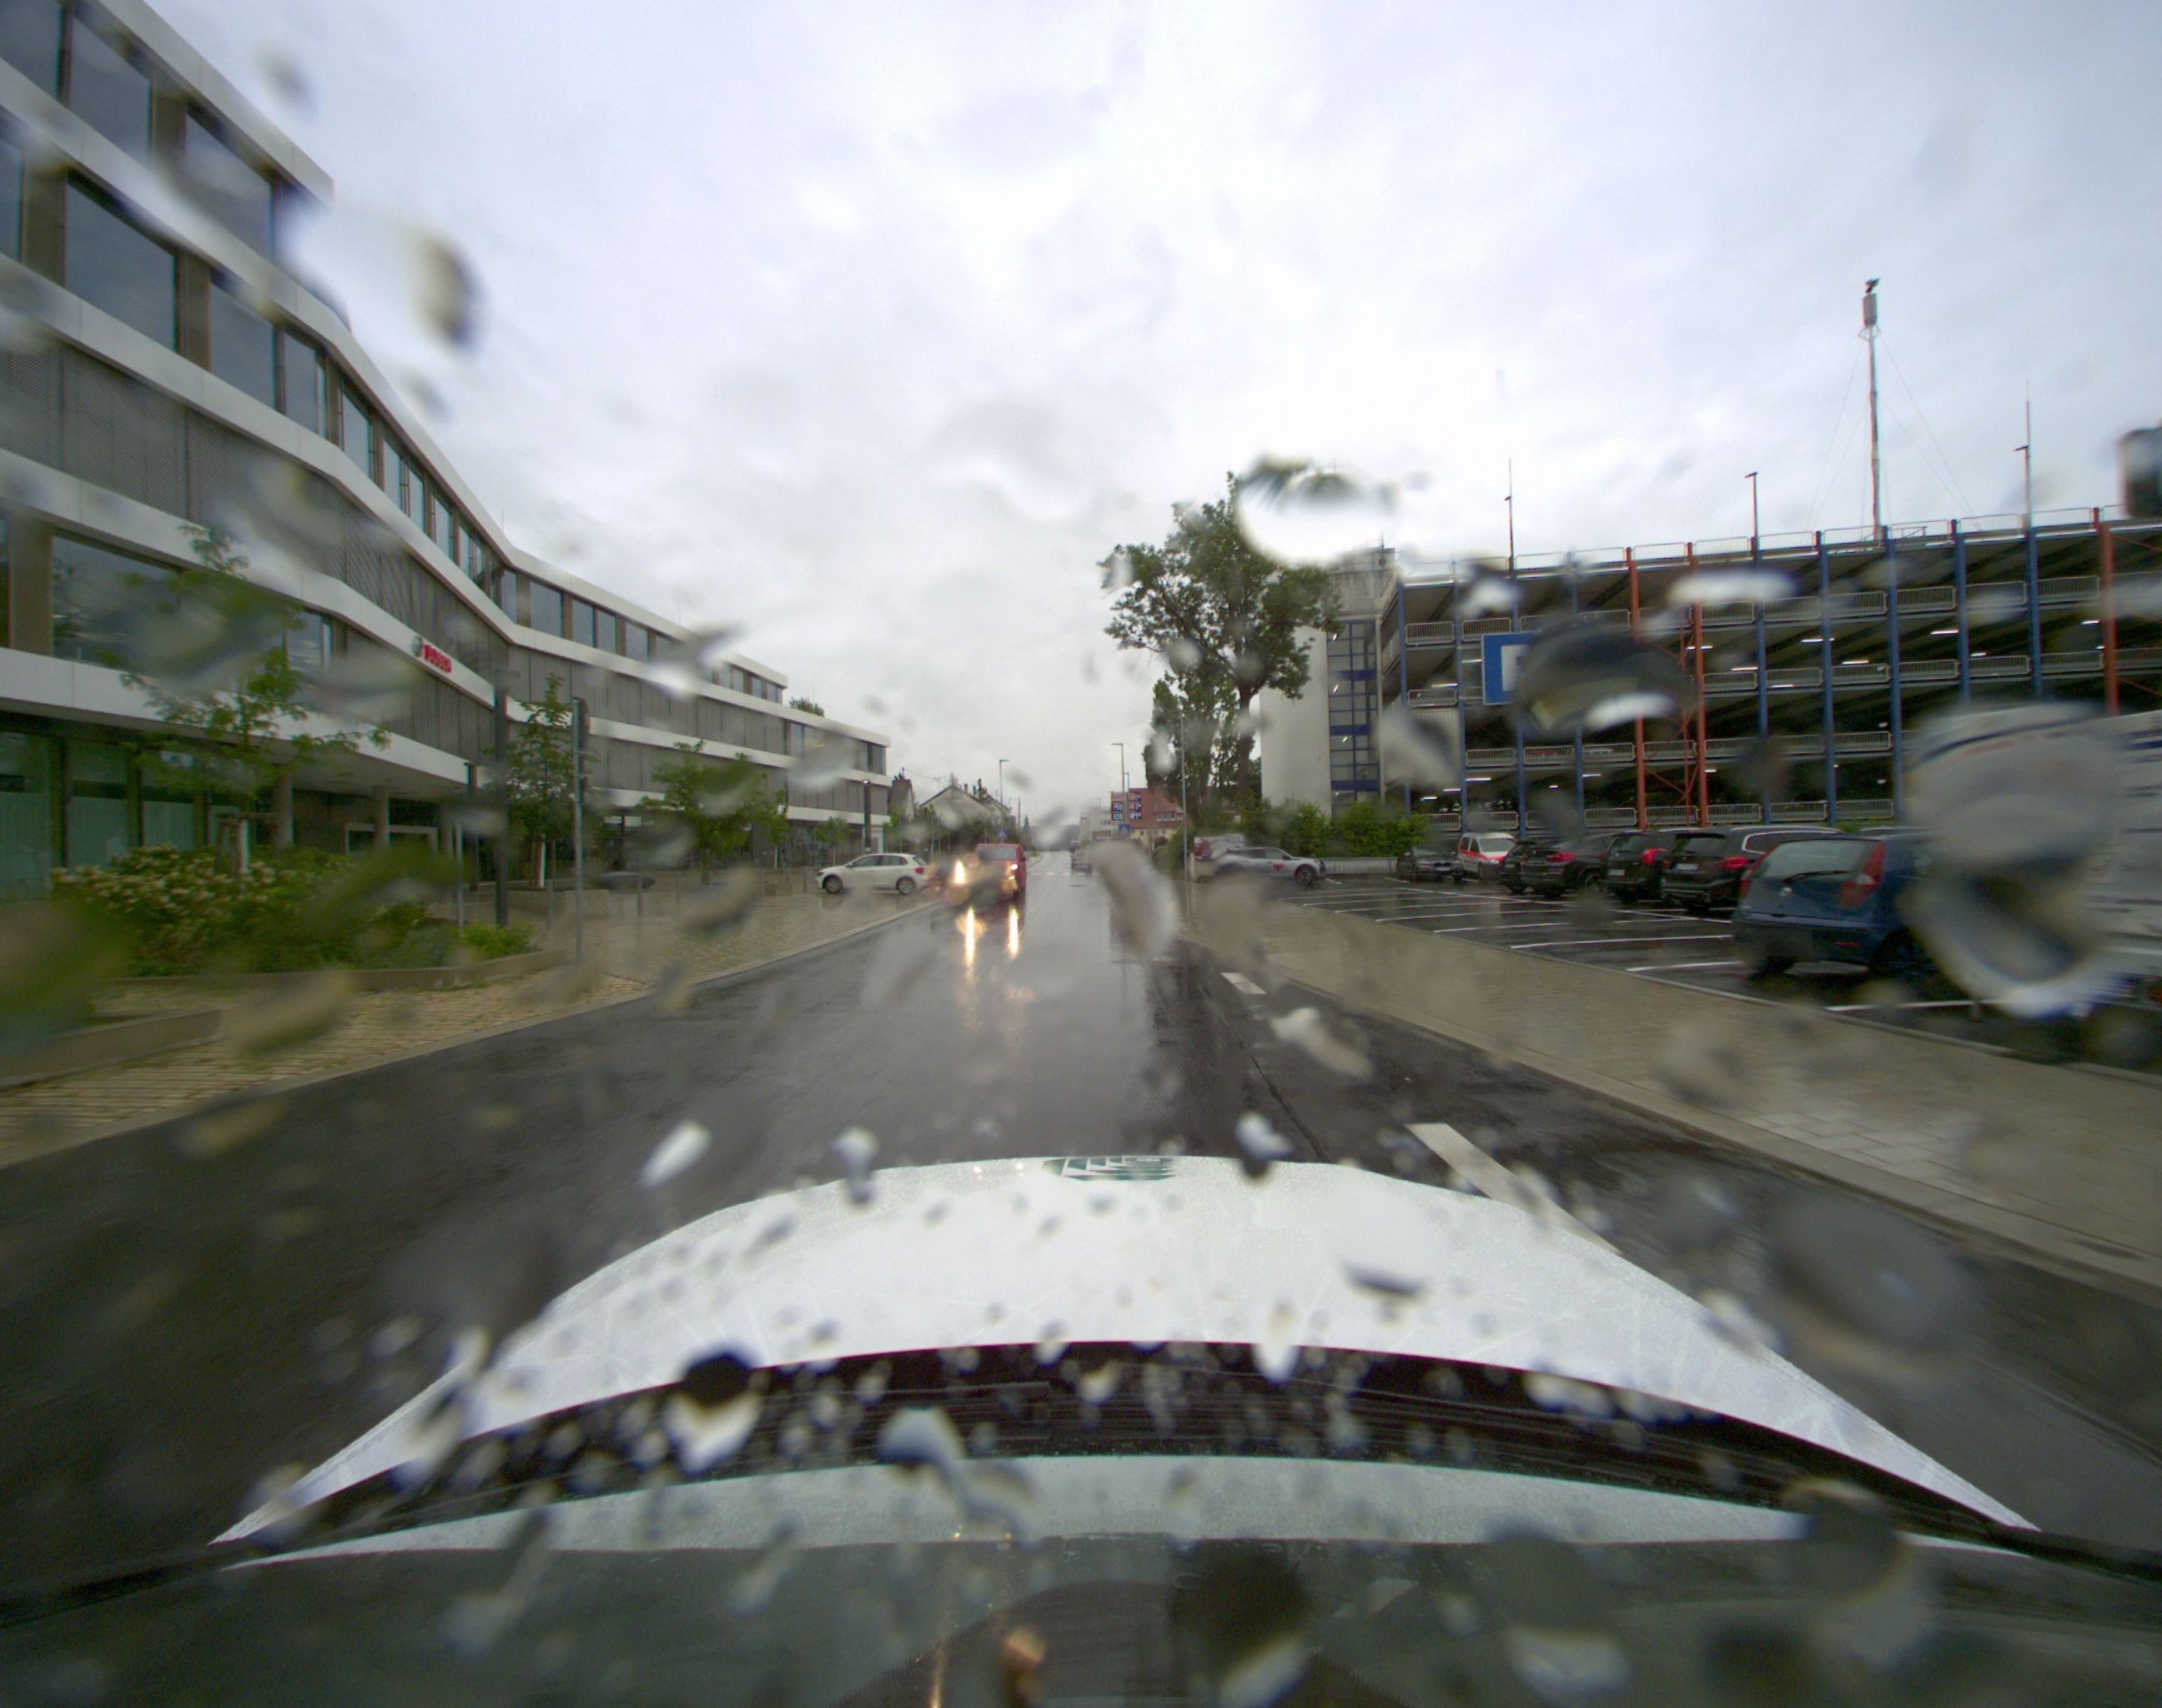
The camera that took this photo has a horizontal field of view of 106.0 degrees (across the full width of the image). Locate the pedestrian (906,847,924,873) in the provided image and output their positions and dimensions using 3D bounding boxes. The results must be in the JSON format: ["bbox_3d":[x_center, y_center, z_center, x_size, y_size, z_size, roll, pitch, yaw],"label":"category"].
[{"bbox_3d":[-10.844,0.396,53.280,1.011,1.724,0.771,0,0,-3],"label":"pedestrian"}]

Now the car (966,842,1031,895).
[{"bbox_3d":[-3.014,0.491,30.568,1.997,1.818,4.977,-1,0,-1],"label":"car"}]

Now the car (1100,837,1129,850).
[{"bbox_3d":[5.087,-1.542,123.624,4.104,1.706,1.786,3,-2,-4],"label":"car"}]

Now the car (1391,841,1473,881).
[{"bbox_3d":[13.822,0.251,32.306,1.922,1.442,4.216,-1,0,8],"label":"car"}]

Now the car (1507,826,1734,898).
[{"bbox_3d":[13.017,0.191,19.822,4.344,1.559,1.838,-1,0,-2],"label":"car"}]

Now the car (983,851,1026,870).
[{"bbox_3d":[-9.095,0.750,96.438,4.760,2.014,1.990,3,-2,-15],"label":"car"}]

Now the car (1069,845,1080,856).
[{"bbox_3d":[-1.238,-0.652,152.478,1.987,1.706,3.998,3,-2,0],"label":"car"}]

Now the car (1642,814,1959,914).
[{"bbox_3d":[13.142,0.166,15.054,4.345,1.651,1.843,-1,0,-3],"label":"car"}]

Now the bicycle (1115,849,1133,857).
[{"bbox_3d":[6.200,-0.151,117.005,0.673,1.067,3.592,4,-2,-32],"label":"bicycle"}]

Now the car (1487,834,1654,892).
[{"bbox_3d":[13.538,0.238,22.648,3.675,1.500,1.642,-1,0,-1],"label":"car"}]

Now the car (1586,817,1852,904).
[{"bbox_3d":[13.587,0.130,17.528,4.341,1.658,1.786,-1,0,0],"label":"car"}]

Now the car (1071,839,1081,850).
[{"bbox_3d":[-0.876,-1.729,146.060,1.777,1.706,3.998,3,-2,0],"label":"car"}]

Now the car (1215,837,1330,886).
[{"bbox_3d":[7.412,0.295,31.908,4.182,1.650,2.005,-3,0,9],"label":"car"}]

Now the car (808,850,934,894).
[{"bbox_3d":[-7.314,0.617,28.692,3.915,1.423,1.898,-1,0,0],"label":"car"}]

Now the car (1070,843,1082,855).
[{"bbox_3d":[-0.908,-0.823,139.305,1.987,1.706,3.998,3,-2,0],"label":"car"}]

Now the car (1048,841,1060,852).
[{"bbox_3d":[-4.974,-1.388,151.421,2.147,1.706,3.998,3,-2,-1],"label":"car"}]

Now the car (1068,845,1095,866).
[{"bbox_3d":[0.032,0.158,67.395,1.944,1.556,3.995,3,-2,-3],"label":"car"}]

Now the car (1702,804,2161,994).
[{"bbox_3d":[8.473,0.378,7.840,3.714,1.529,1.649,-2,-1,-1],"label":"car"}]

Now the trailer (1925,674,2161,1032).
[{"bbox_3d":[7.931,-0.025,5.563,2.692,2.171,1.549,-1,0,1],"label":"trailer"}]

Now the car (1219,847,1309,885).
[{"bbox_3d":[7.706,0.501,34.568,3.600,1.494,1.811,-2,0,8],"label":"car"}]

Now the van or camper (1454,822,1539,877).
[{"bbox_3d":[16.346,-0.170,32.310,1.826,2.036,4.475,-1,0,11],"label":"van or camper"}]
